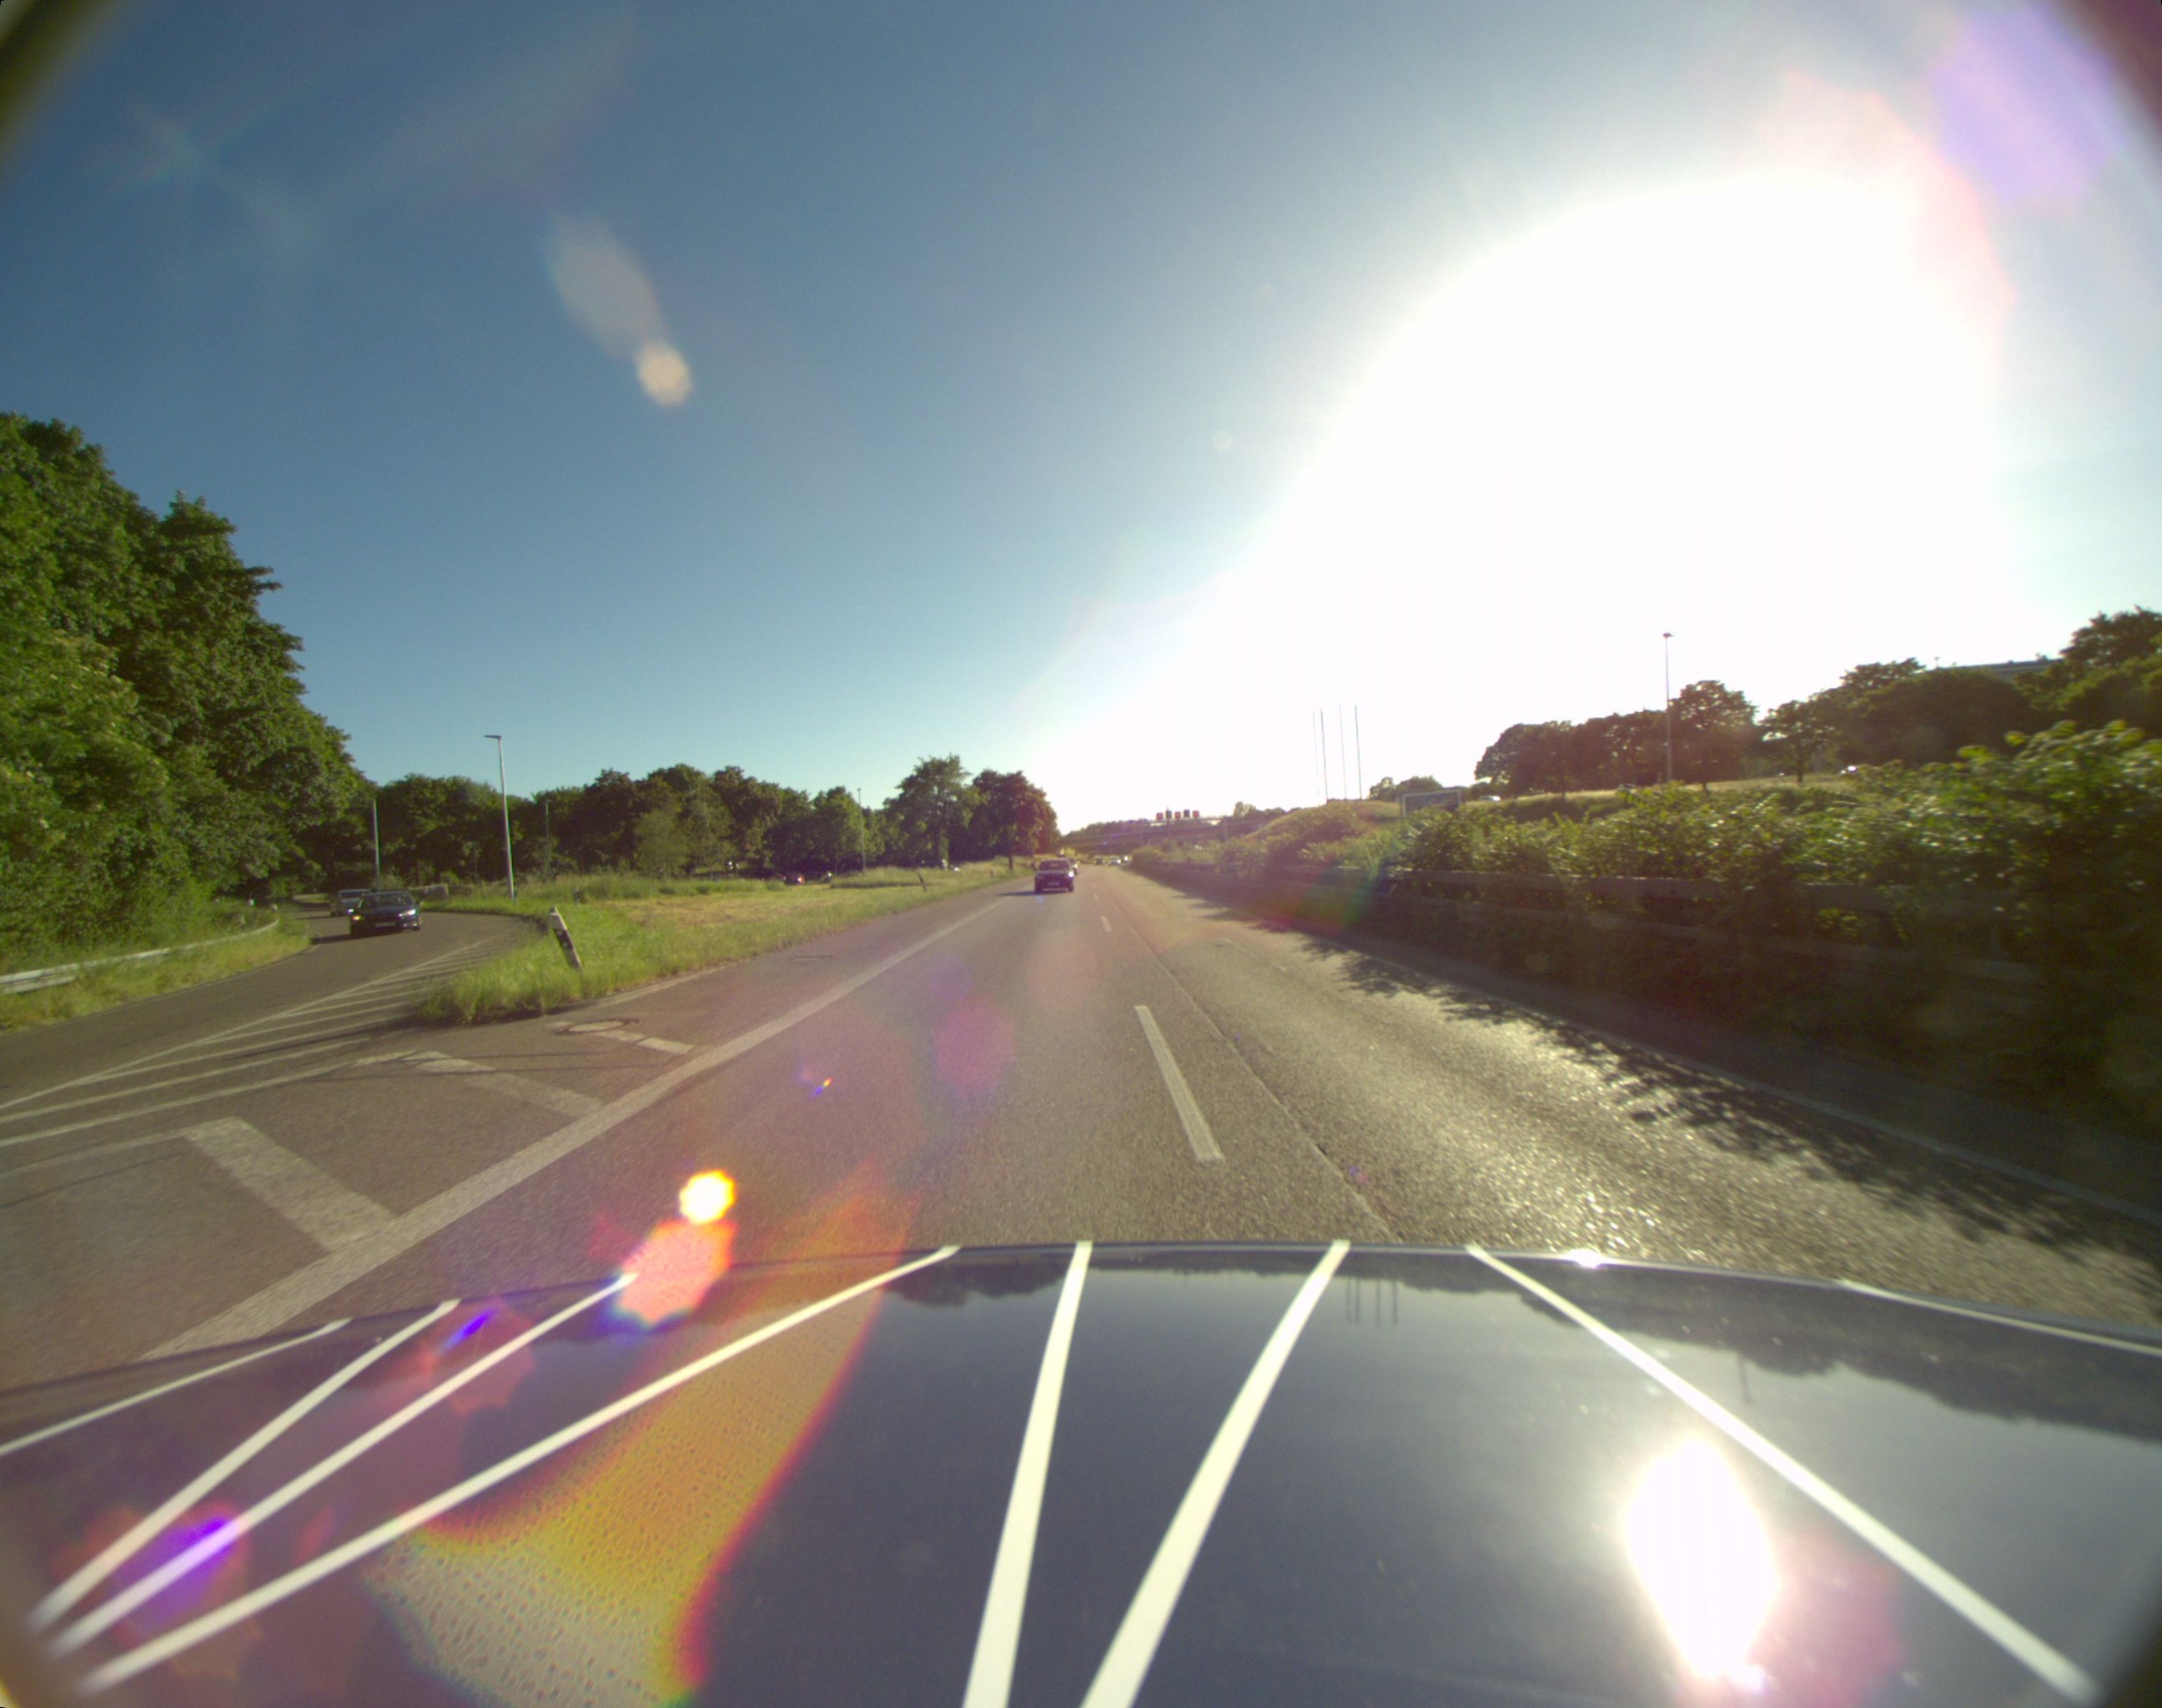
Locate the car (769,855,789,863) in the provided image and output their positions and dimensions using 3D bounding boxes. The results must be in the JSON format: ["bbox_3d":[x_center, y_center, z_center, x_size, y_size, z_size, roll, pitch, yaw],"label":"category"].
[{"bbox_3d":[-63.375,1.047,159.616,1.907,1.567,4.003,-3,0,11],"label":"car"}]

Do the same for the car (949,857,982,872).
[{"bbox_3d":[-18.004,1.642,118.598,4.801,2.012,2.025,-3,3,0],"label":"car"}]

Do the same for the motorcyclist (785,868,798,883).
[{"bbox_3d":[-28.260,2.092,74.089,1.095,1.439,0.817,-3,1,-25],"label":"motorcyclist"}]

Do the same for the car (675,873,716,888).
[{"bbox_3d":[-46.463,3.207,91.619,4.232,1.551,1.784,-4,1,-29],"label":"car"}]

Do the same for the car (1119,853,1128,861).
[{"bbox_3d":[8.449,0.597,152.662,1.682,1.412,3.670,-3,0,3],"label":"car"}]

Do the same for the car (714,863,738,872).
[{"bbox_3d":[-65.846,2.446,141.004,1.906,1.567,4.005,-3,0,16],"label":"car"}]

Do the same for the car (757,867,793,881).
[{"bbox_3d":[-47.060,3.054,116.874,4.597,1.766,1.945,-2,2,-4],"label":"car"}]

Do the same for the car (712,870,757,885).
[{"bbox_3d":[-47.189,3.196,103.578,5.203,1.855,1.957,-2,1,2],"label":"car"}]

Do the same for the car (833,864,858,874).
[{"bbox_3d":[-44.367,2.831,143.157,4.120,1.416,1.865,-3,3,0],"label":"car"}]

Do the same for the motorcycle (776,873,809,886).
[{"bbox_3d":[-28.143,2.495,74.142,2.839,1.063,0.817,-3,1,-25],"label":"motorcycle"}]

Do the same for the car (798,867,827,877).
[{"bbox_3d":[-45.504,3.022,128.970,4.120,1.416,1.865,-3,3,0],"label":"car"}]

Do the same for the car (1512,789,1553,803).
[{"bbox_3d":[79.021,-10.134,133.154,2.550,2.002,6.088,-2,0,-15],"label":"car"}]

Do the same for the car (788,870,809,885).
[{"bbox_3d":[-32.032,2.619,86.160,1.704,1.454,4.144,-4,1,-14],"label":"car"}]

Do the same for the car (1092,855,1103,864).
[{"bbox_3d":[2.989,0.984,139.626,1.682,1.412,3.670,-3,0,4],"label":"car"}]

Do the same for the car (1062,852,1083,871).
[{"bbox_3d":[-0.738,0.651,69.066,1.759,1.564,4.520,-1,1,2],"label":"car"}]

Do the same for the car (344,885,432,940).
[{"bbox_3d":[-25.006,2.056,27.555,1.763,1.564,4.133,-8,3,-36],"label":"car"}]

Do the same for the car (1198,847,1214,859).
[{"bbox_3d":[18.407,-0.148,111.723,1.846,1.552,4.001,-2,0,3],"label":"car"}]

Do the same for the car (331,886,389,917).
[{"bbox_3d":[-42.300,2.788,44.540,4.132,1.564,1.763,-4,3,39],"label":"car"}]

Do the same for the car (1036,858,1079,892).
[{"bbox_3d":[-1.069,0.959,36.078,1.703,1.497,4.580,-1,-1,2],"label":"car"}]

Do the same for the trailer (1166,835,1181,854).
[{"bbox_3d":[22.023,-2.230,180.514,2.655,4.099,10.701,-3,0,3],"label":"trailer"}]

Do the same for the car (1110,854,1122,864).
[{"bbox_3d":[5.547,0.838,119.456,1.725,1.412,3.670,-3,0,2],"label":"car"}]
